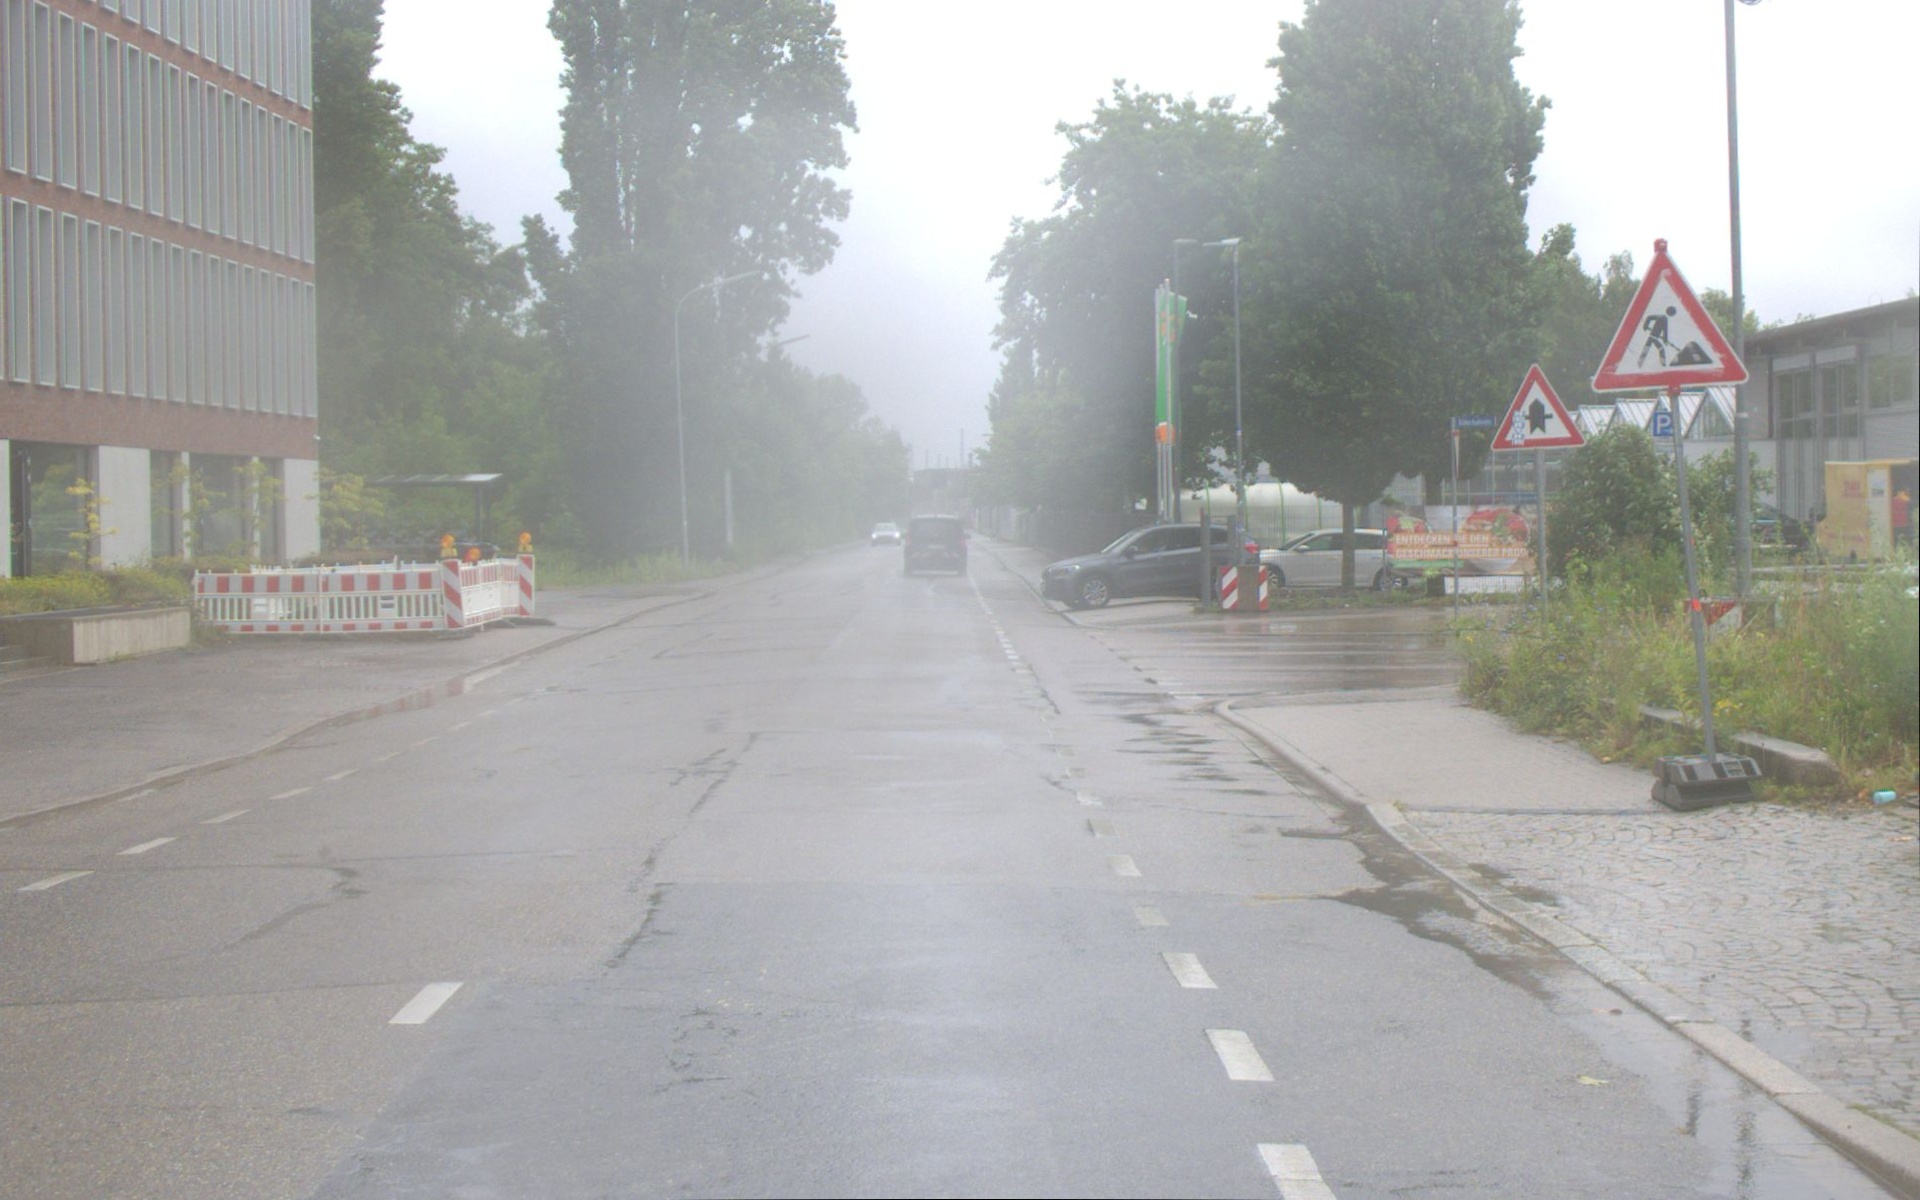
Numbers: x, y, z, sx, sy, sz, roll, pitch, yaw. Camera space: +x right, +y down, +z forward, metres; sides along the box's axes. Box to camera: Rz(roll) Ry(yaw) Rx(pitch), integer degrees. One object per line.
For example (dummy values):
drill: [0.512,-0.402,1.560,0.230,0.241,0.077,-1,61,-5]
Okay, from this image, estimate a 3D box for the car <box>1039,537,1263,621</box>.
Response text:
car: [3.777,-0.424,68.291,4.135,1.563,1.765,-1,0,-9]

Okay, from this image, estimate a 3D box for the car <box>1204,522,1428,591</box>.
car: [7.806,-0.969,75.625,4.703,1.457,1.891,0,2,-1]

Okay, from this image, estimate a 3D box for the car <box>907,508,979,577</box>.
car: [-0.518,-1.667,100.037,1.993,1.904,4.201,-1,1,-1]

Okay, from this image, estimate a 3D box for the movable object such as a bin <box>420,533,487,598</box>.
movable object such as a bin: [-10.543,-0.722,71.645,1.295,1.304,1.449,-1,2,-6]

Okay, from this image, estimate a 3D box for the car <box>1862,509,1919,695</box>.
car: [9.876,0.008,28.728,4.181,1.504,1.890,0,0,1]

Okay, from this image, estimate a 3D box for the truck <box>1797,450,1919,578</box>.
truck: [20.482,-1.943,76.270,2.301,2.650,7.416,-2,2,3]

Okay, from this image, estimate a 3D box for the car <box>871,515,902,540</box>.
car: [-4.575,-4.527,214.952,1.733,1.445,4.381,-3,2,1]
